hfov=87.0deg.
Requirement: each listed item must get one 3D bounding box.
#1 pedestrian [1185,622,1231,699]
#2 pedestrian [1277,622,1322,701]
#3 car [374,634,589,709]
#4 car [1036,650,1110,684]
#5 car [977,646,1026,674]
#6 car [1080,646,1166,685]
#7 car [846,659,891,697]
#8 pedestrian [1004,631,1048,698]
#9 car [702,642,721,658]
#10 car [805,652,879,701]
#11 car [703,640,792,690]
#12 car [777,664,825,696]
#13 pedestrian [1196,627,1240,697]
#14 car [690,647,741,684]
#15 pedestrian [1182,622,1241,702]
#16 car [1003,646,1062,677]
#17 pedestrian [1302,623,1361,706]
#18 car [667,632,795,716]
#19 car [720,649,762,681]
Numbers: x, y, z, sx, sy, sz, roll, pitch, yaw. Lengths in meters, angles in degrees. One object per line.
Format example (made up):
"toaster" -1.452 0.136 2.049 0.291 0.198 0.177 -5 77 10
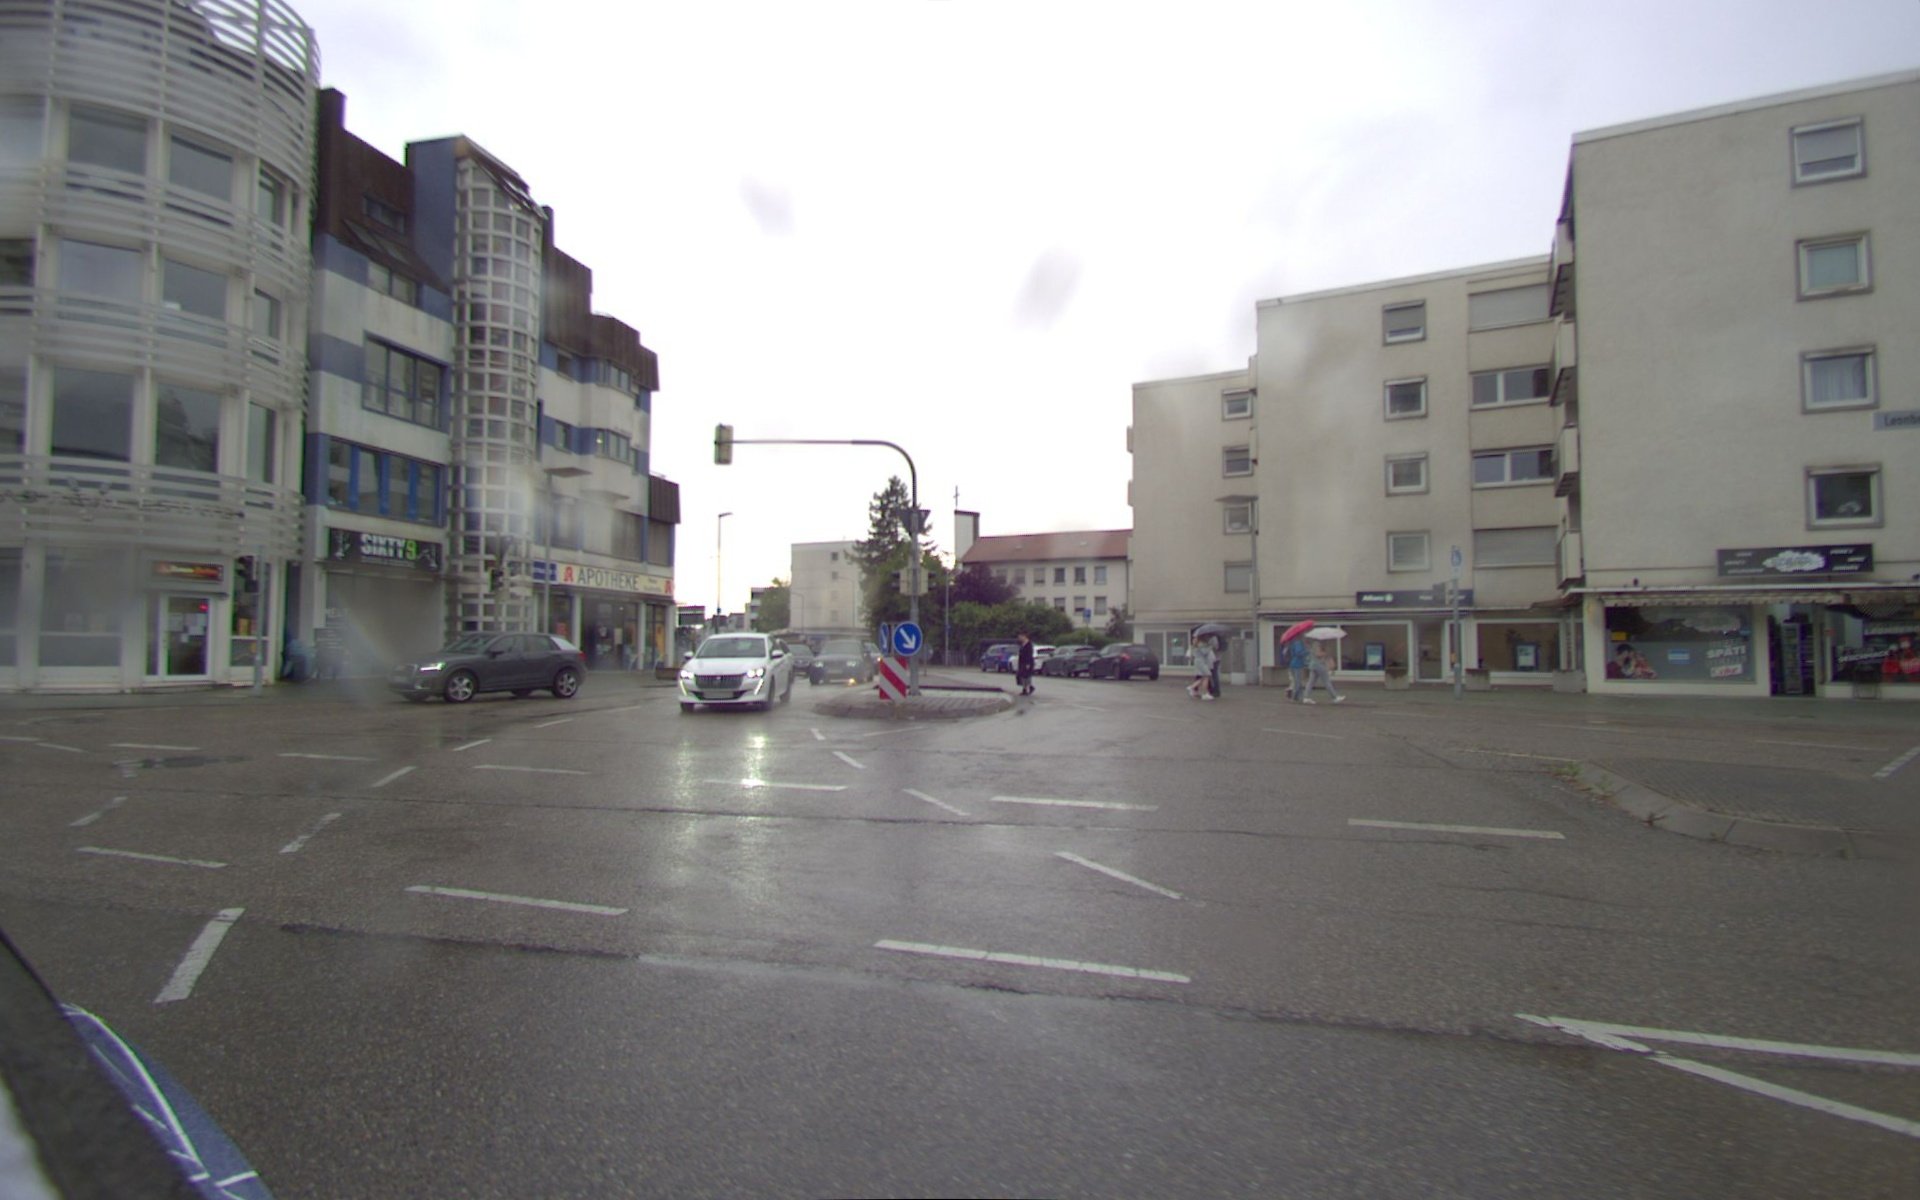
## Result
"pedestrian" 5.797 1.415 23.746 0.824 1.749 0.954 1 -3 -1
"pedestrian" 7.433 1.339 22.205 0.664 1.698 0.807 1 -3 -4
"car" -10.308 1.503 22.111 1.728 1.455 4.006 -2 -3 29
"car" 5.098 3.027 46.335 1.806 1.445 4.286 0 -3 -17
"car" 2.270 3.338 56.817 1.606 1.517 3.892 1 -3 -16
"car" 6.590 2.645 41.306 1.806 1.471 4.200 0 -3 -16
"car" -4.292 3.617 47.378 1.969 1.627 4.004 -1 -3 -6
"pedestrian" 1.626 1.579 24.939 0.647 1.597 0.915 3 -4 -40
"car" -26.088 5.260 105.993 1.715 1.652 4.011 1 -3 -16
"car" -3.779 2.449 32.977 1.729 1.466 3.809 0 -3 3
"car" -7.005 2.185 33.762 1.713 1.540 4.055 0 -4 6
"car" -7.633 3.824 48.842 1.776 1.379 3.974 0 -3 -2
"pedestrian" 6.289 1.501 24.677 0.702 1.668 0.817 1 -3 -18
"car" -10.083 2.713 41.899 1.629 1.382 3.737 3 -4 -8
"pedestrian" 5.659 1.389 22.847 1.123 1.757 0.859 0 -3 3
"car" 3.646 3.128 51.578 1.610 1.511 4.359 1 -3 -16
"pedestrian" 7.790 1.346 21.245 0.926 1.690 0.915 0 -3 5
"car" -4.360 1.433 19.801 1.719 1.420 3.896 -2 -4 -2
"car" -10.408 3.105 48.268 1.633 1.435 4.006 1 -4 -8
